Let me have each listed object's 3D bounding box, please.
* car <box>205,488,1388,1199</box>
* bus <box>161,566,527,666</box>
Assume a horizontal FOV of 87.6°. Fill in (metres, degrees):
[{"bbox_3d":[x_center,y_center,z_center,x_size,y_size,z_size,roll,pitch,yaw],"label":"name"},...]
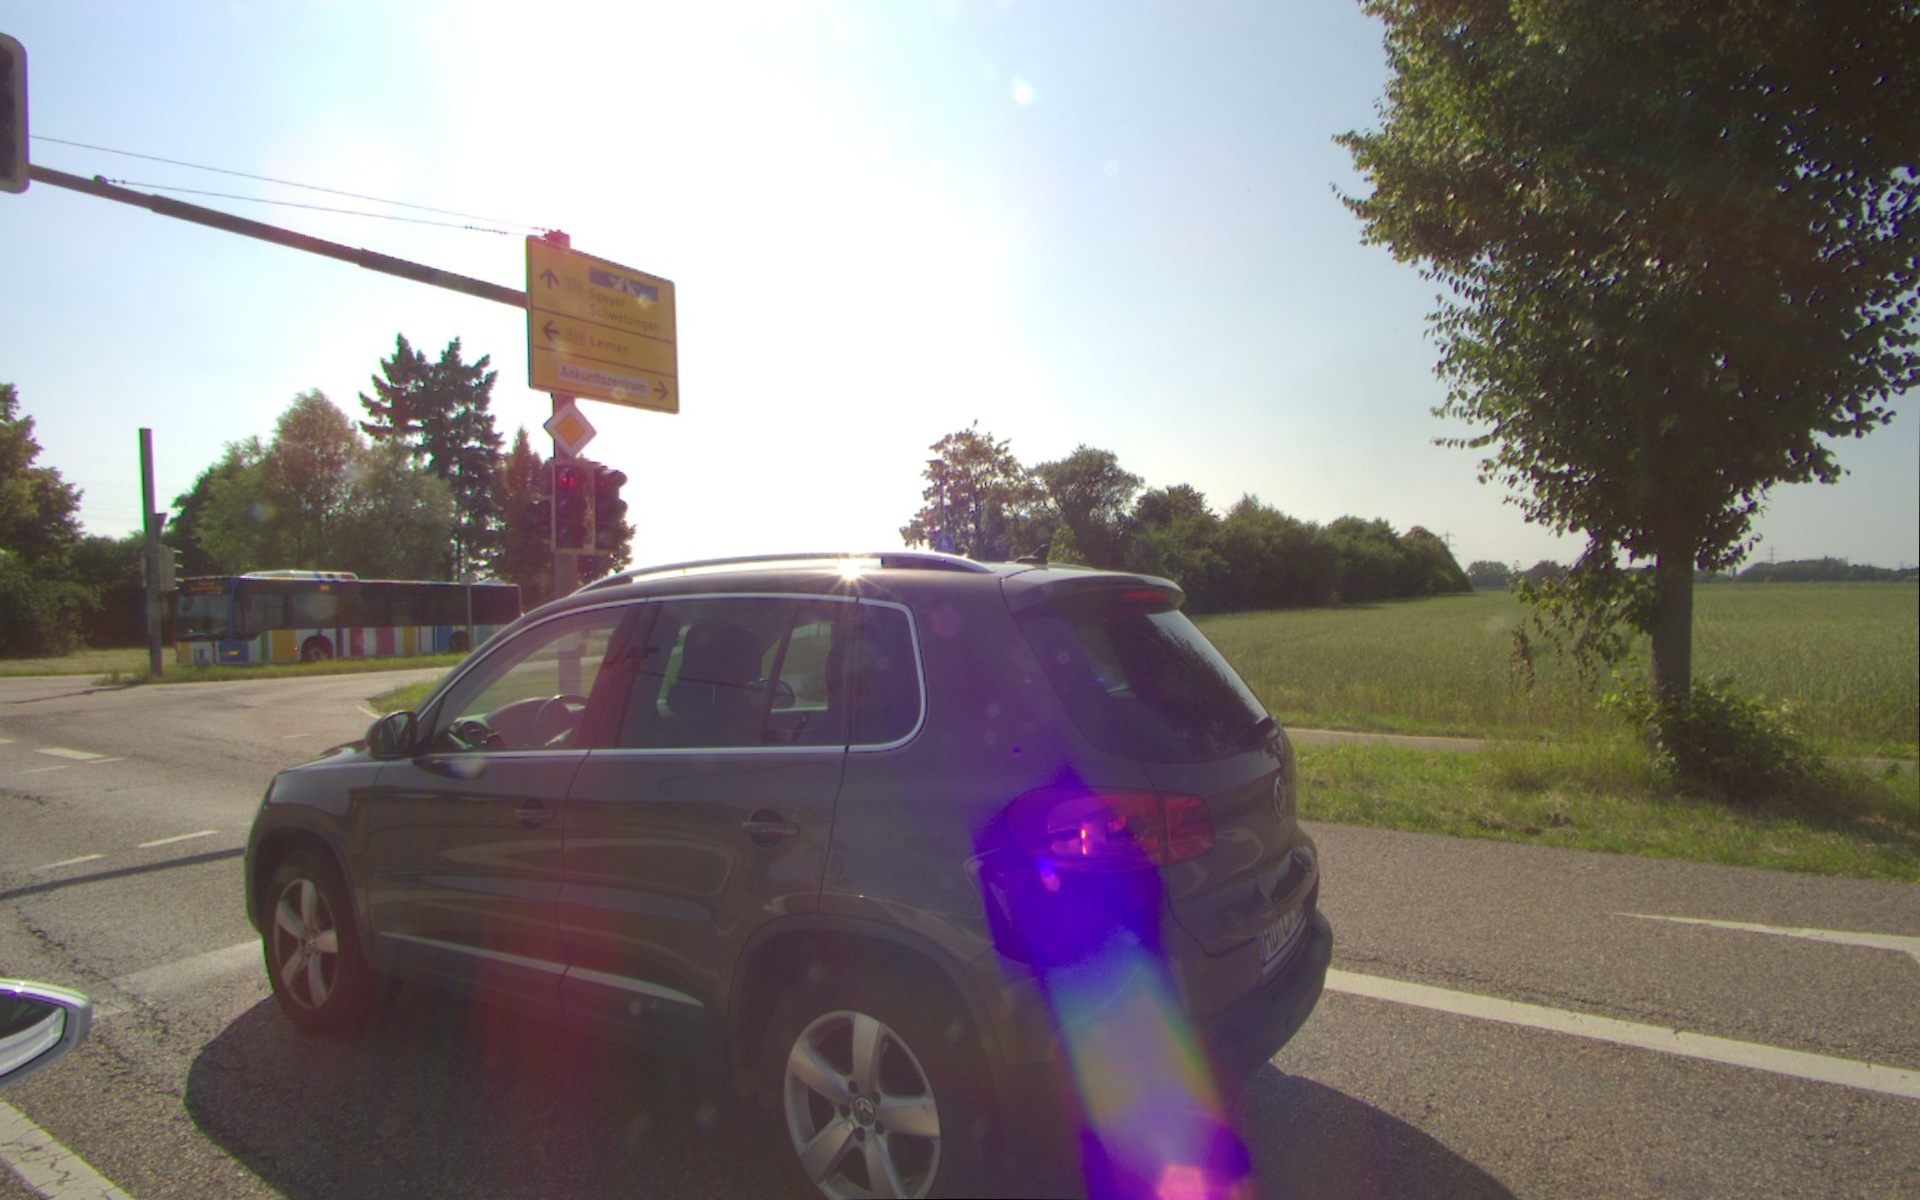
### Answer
[{"bbox_3d":[-0.782,0.693,3.620,4.086,1.677,1.753,-1,-2,32],"label":"car"},{"bbox_3d":[-20.665,0.419,35.173,2.889,2.916,11.955,-1,0,17],"label":"bus"}]
